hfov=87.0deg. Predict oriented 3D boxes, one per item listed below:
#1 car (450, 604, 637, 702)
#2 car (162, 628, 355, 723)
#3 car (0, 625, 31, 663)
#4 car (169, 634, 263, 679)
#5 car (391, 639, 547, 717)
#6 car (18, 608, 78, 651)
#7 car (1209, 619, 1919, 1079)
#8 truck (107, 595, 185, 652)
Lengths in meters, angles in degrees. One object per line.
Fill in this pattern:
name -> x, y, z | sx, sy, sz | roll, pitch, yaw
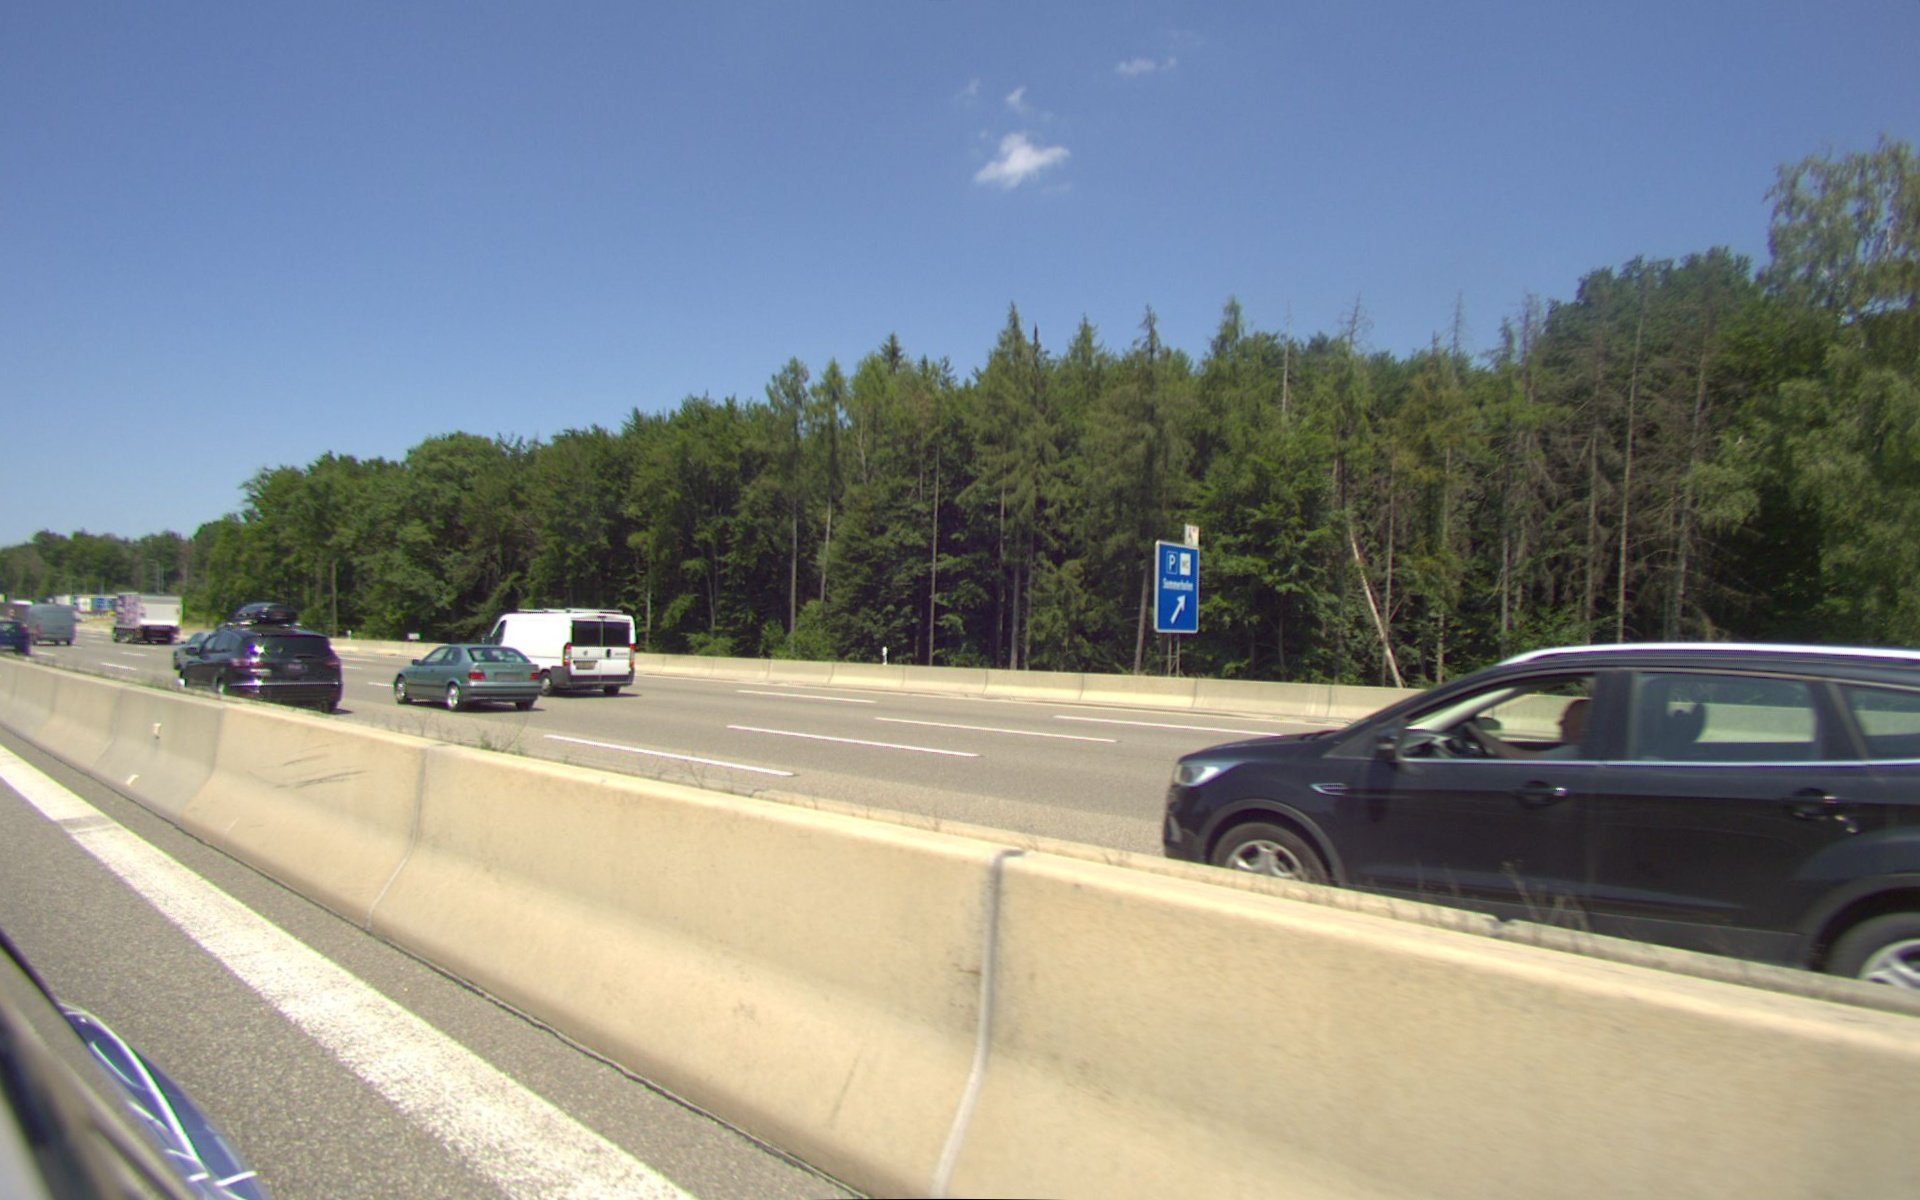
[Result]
car -> -11.632, 1.377, 27.963 | 6.622, 2.431, 1.910 | 0, -4, 41
car -> -13.829, 1.375, 19.817 | 5.226, 1.618, 1.850 | -1, -3, 41
car -> -43.053, 1.950, 45.334 | 3.757, 1.674, 1.687 | -1, -2, 41
car -> -26.115, 1.941, 35.469 | 4.523, 1.455, 1.661 | -1, -4, 41
car -> -10.435, 1.608, 21.397 | 3.837, 1.466, 1.533 | -1, -4, 41
car -> -59.351, 1.921, 65.813 | 7.226, 2.627, 1.910 | -1, -5, 41
car -> 3.525, 0.954, 4.870 | 4.200, 1.686, 1.737 | -1, -3, 40
truck -> -61.070, 1.718, 75.797 | 10.231, 3.969, 2.691 | 0, -2, 41
